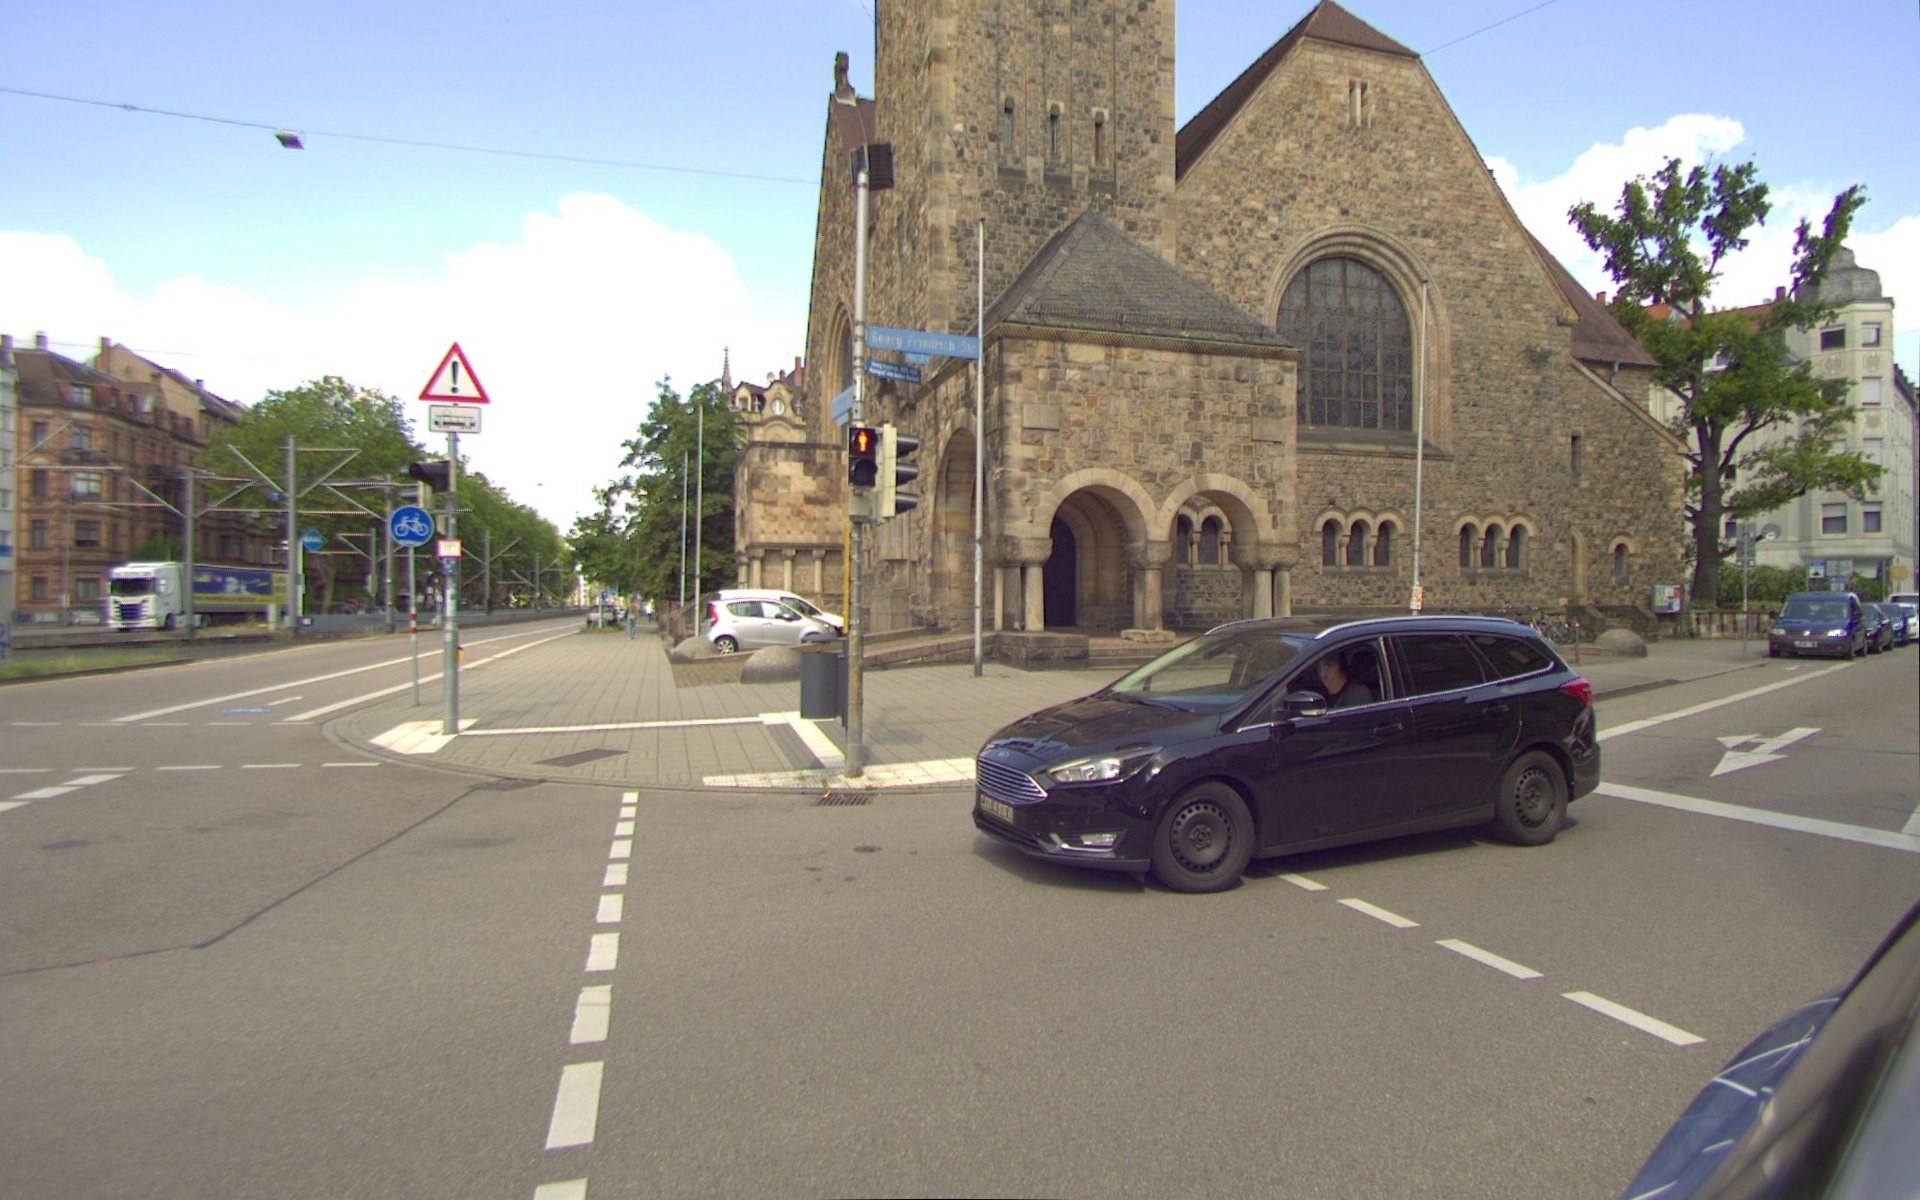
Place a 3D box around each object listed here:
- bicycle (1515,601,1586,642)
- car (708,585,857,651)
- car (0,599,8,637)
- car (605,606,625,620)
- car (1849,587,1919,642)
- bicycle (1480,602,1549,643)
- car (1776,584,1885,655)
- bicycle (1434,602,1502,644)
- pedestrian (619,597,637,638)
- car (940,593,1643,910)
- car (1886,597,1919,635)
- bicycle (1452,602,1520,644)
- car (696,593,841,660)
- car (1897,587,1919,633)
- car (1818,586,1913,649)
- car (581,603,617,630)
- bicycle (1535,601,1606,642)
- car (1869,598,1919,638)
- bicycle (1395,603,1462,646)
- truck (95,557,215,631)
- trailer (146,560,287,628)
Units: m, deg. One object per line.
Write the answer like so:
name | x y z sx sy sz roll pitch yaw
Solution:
bicycle | 18.351 0.655 31.497 0.574 1.126 1.944 0 3 -20
car | -5.418 0.578 30.712 4.214 1.878 2.003 1 -2 -17
car | -44.059 0.793 44.228 1.815 1.727 4.142 0 0 -15
car | -31.991 1.245 93.939 1.621 1.249 3.069 -1 -1 -16
car | 32.356 0.471 35.148 3.930 1.814 1.681 0 -1 -41
bicycle | 16.931 0.669 30.942 0.574 1.126 1.944 0 3 -20
car | 23.924 0.507 27.769 4.072 1.814 1.681 0 -1 -41
bicycle | 15.296 0.685 30.543 0.574 1.126 1.944 0 3 -20
pedestrian | -13.958 0.717 42.554 0.645 1.686 0.847 0 -1 -14
car | 2.195 0.758 6.666 4.295 1.554 1.788 0 -1 -24
car | 39.729 0.632 41.835 3.822 1.515 1.681 0 0 -41
bicycle | 15.962 0.678 30.766 0.574 1.126 1.944 0 3 -20
car | -5.152 0.737 27.173 3.560 1.700 1.822 1 -2 -19
car | 43.013 0.422 44.770 4.112 1.963 1.843 0 -1 -41
car | 27.829 0.518 31.070 3.930 1.814 1.681 0 -1 -41
car | -20.925 0.943 58.725 1.752 1.514 3.845 -1 -1 -16
bicycle | 19.107 0.648 31.719 0.574 1.126 1.944 0 3 -20
car | 35.904 0.661 38.346 3.731 1.465 1.681 0 0 -41
bicycle | 13.851 0.699 30.000 0.574 1.126 1.944 0 3 -20
truck | -48.041 -0.358 60.675 2.857 4.201 6.602 0 0 -11
trailer | -49.333 -0.388 67.723 2.857 4.129 11.671 0 0 -11
